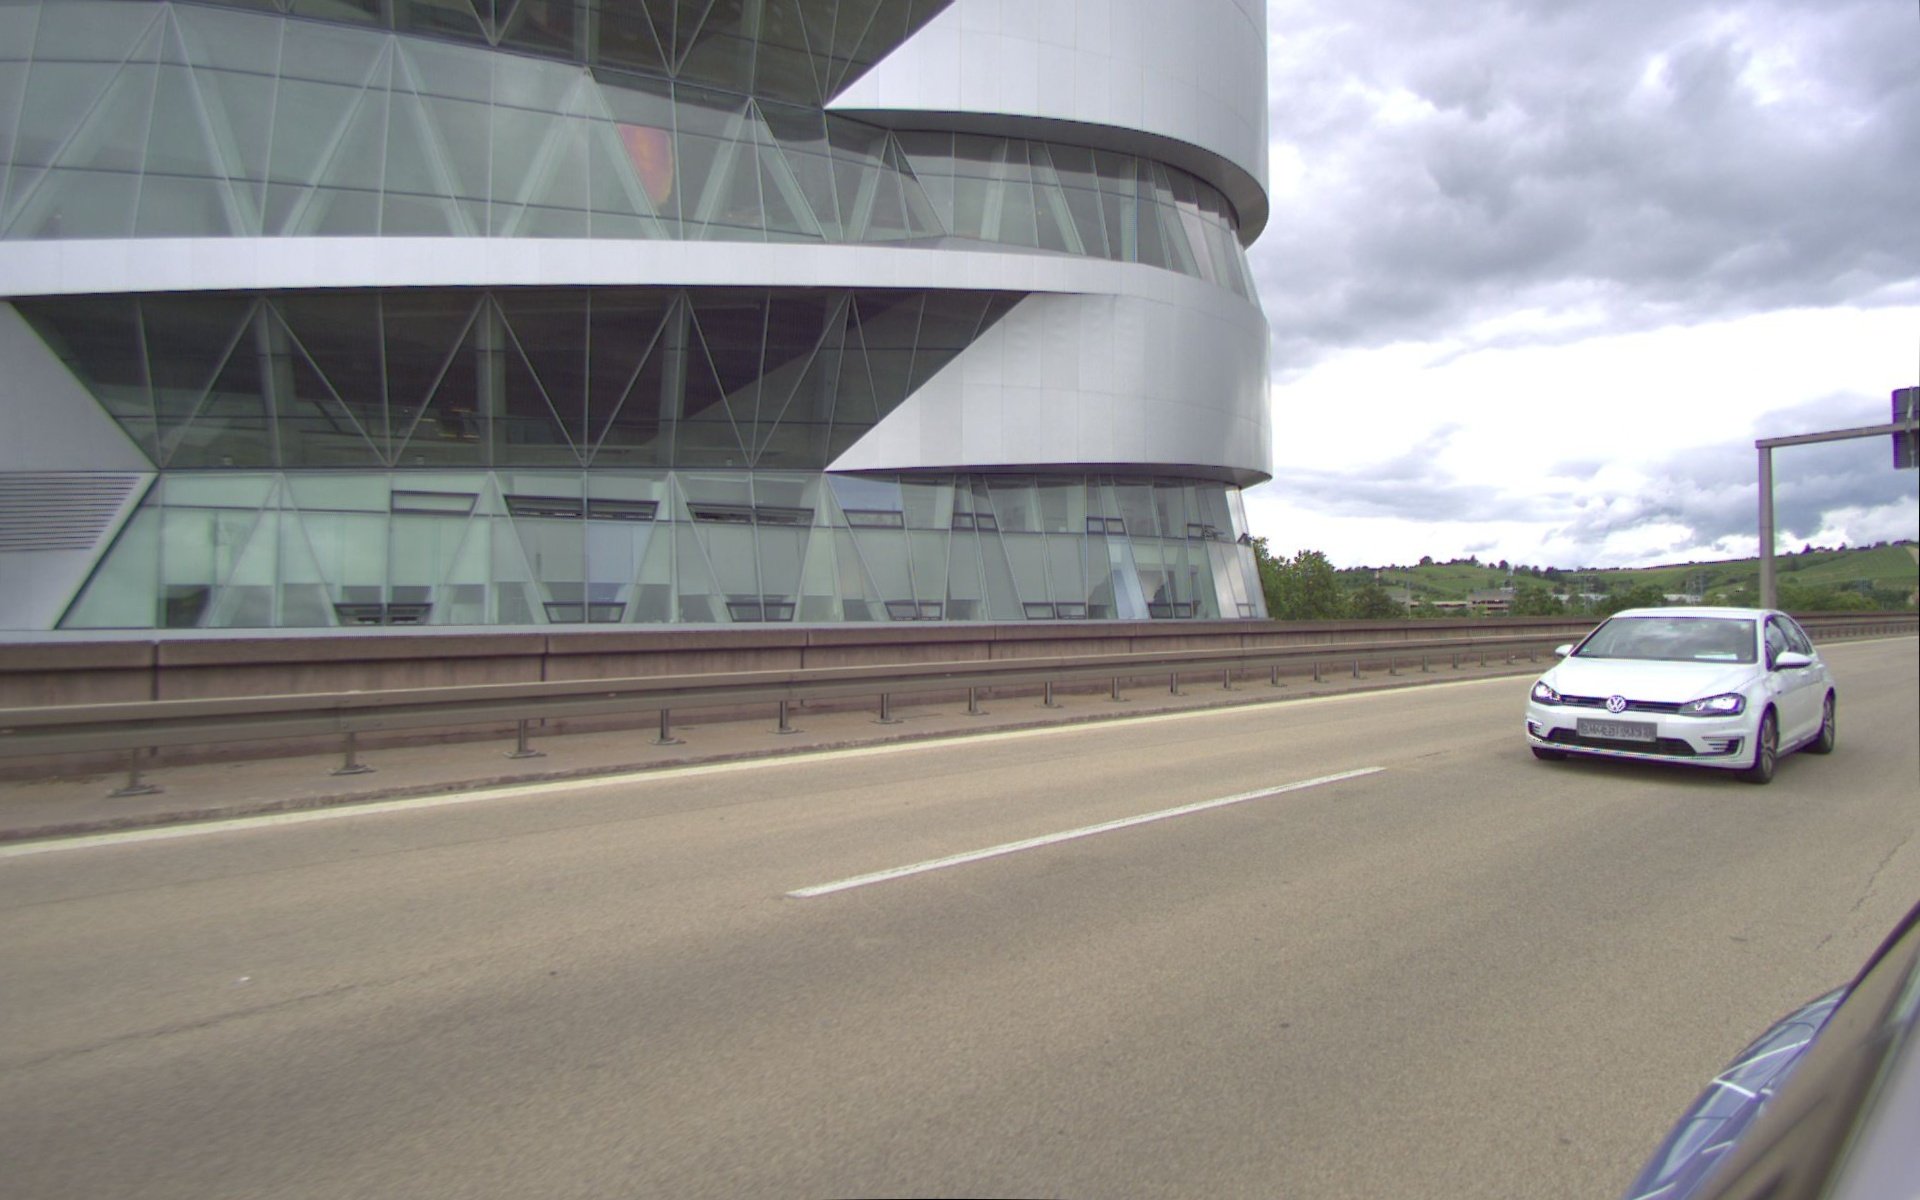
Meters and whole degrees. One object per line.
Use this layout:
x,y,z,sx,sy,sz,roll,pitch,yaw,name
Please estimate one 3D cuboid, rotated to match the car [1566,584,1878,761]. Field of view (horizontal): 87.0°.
8.208,0.593,10.775,3.991,1.527,1.929,-1,1,-42,car
